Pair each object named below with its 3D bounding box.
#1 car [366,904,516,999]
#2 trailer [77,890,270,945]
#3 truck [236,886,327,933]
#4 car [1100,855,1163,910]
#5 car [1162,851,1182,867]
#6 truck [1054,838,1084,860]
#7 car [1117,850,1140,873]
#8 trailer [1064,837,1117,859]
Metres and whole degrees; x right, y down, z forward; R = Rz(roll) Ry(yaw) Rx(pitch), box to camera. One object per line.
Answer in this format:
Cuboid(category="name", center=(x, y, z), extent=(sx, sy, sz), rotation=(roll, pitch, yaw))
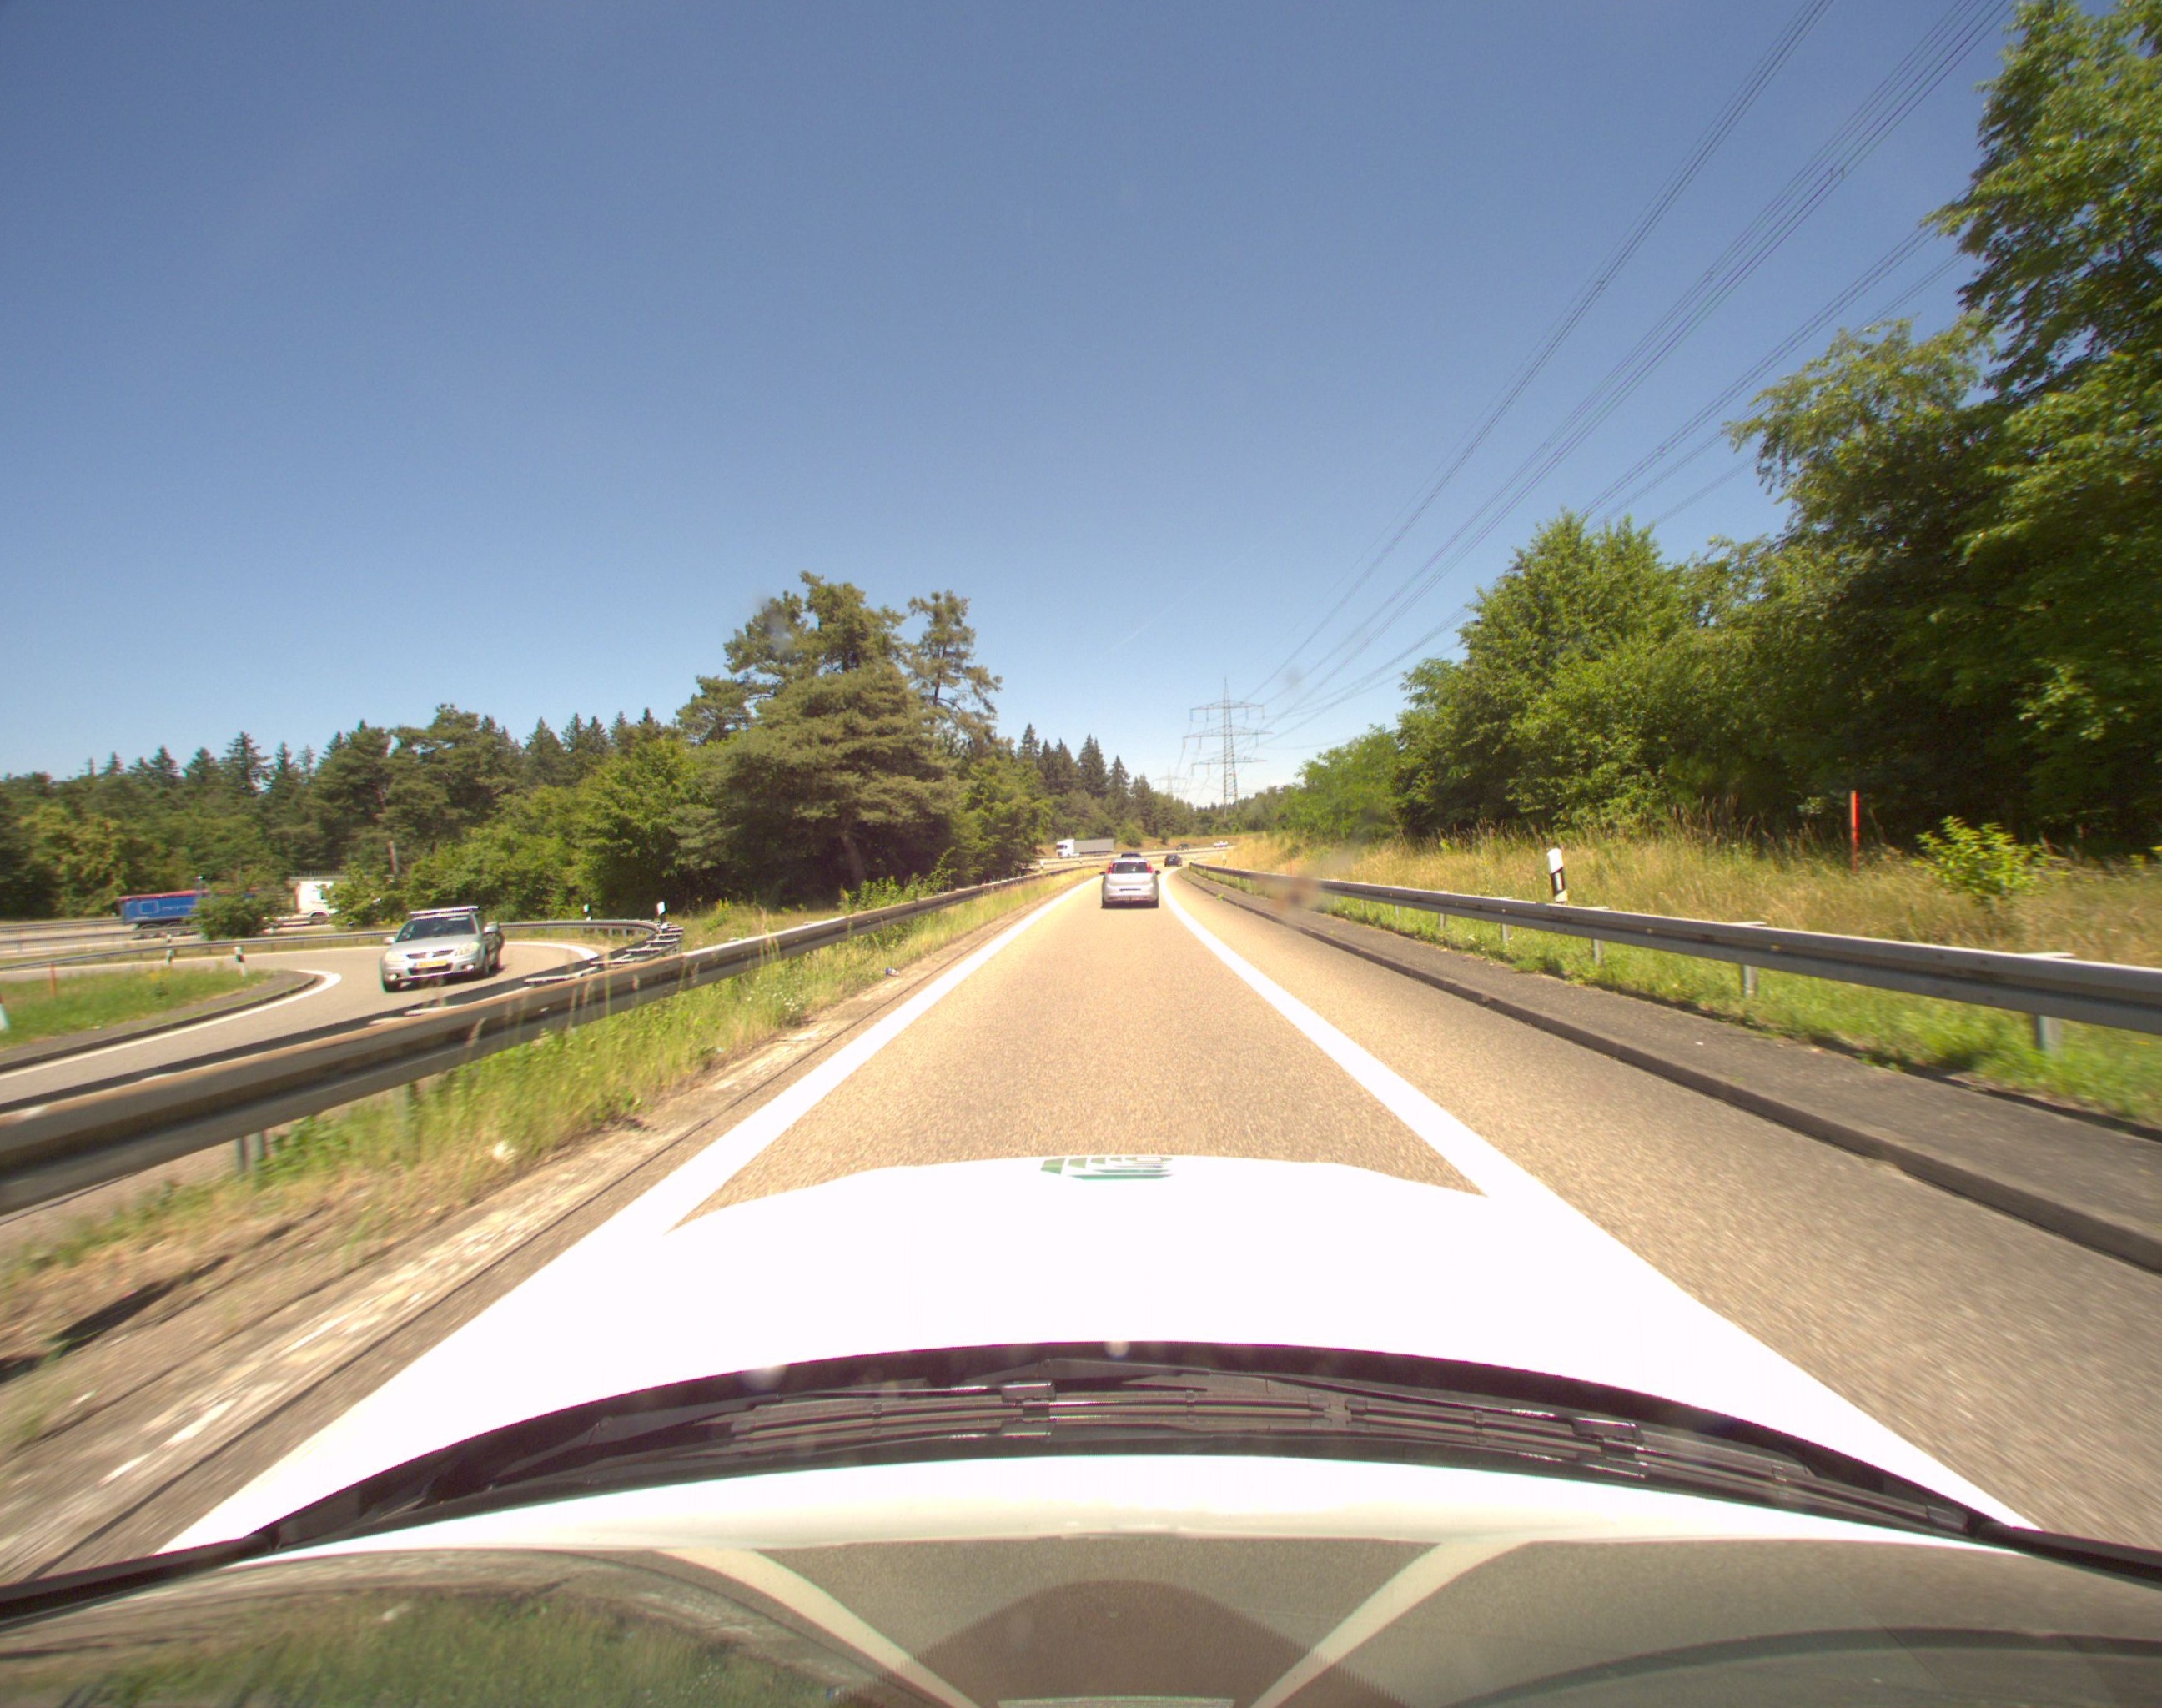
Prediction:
Cuboid(category="car", center=(-14.525, 2.083, 18.802), extent=(2.007, 1.640, 5.218), rotation=(-4, 0, -31))
Cuboid(category="trailer", center=(-70.960, 4.884, 64.004), extent=(2.236, 3.302, 9.908), rotation=(-5, 0, 39))
Cuboid(category="truck", center=(-67.264, 4.636, 68.555), extent=(2.417, 3.363, 5.071), rotation=(-5, -1, 39))
Cuboid(category="car", center=(1.469, 0.807, 24.711), extent=(1.700, 1.481, 3.398), rotation=(-1, 1, 0))
Cuboid(category="car", center=(10.960, 0.599, 97.778), extent=(1.868, 1.684, 4.015), rotation=(-4, 0, 13))
Cuboid(category="truck", center=(-2.592, -1.055, 178.602), extent=(2.911, 4.392, 6.310), rotation=(-4, 0, 43))
Cuboid(category="car", center=(3.729, 0.565, 63.521), extent=(1.699, 1.676, 3.401), rotation=(-1, 1, 4))
Cuboid(category="trailer", center=(2.207, -1.383, 183.797), extent=(2.897, 4.387, 14.386), rotation=(-4, 0, 43))
